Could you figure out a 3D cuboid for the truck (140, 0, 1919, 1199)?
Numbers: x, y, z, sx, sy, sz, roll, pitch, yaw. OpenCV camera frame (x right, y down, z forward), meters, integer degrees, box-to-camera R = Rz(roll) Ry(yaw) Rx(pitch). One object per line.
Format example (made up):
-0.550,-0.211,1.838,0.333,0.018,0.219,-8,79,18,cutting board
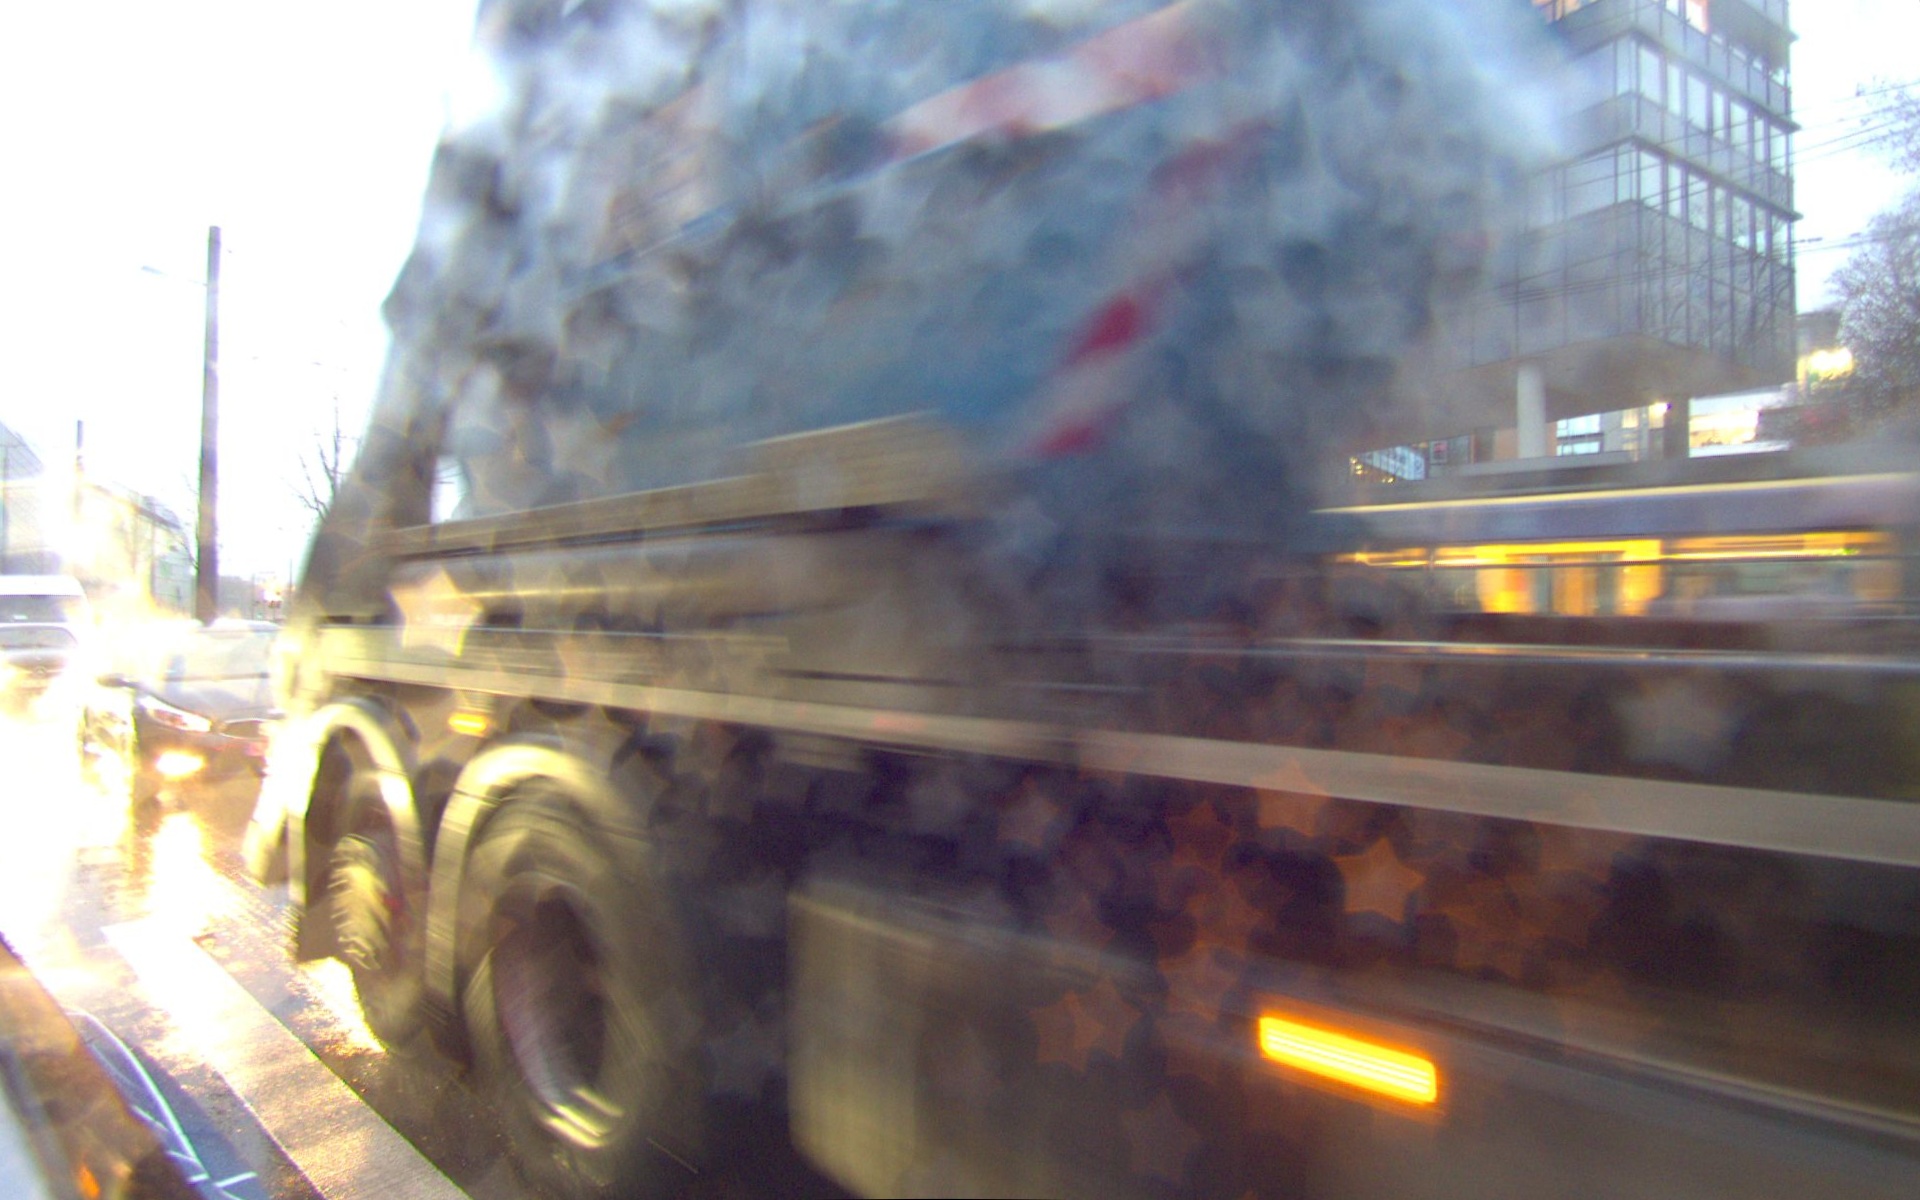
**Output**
0.582,-0.260,2.608,7.521,3.661,2.810,-1,-2,40,truck

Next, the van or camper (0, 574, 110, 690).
-22.787,0.765,24.721,5.894,2.551,2.126,-1,-2,40,van or camper

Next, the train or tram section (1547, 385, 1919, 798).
14.545,-0.137,5.747,19.194,3.642,2.836,-1,-2,39,train or tram section

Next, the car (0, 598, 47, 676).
-37.730,1.435,39.634,5.808,2.885,2.103,-1,-2,40,car

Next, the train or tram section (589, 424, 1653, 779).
0.010,0.188,17.934,20.055,3.642,2.835,-1,-2,40,train or tram section

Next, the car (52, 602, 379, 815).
-7.064,0.815,9.459,3.939,1.535,1.613,0,1,41,car

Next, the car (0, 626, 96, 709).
-17.712,1.206,19.095,4.057,1.355,1.735,0,-1,44,car
